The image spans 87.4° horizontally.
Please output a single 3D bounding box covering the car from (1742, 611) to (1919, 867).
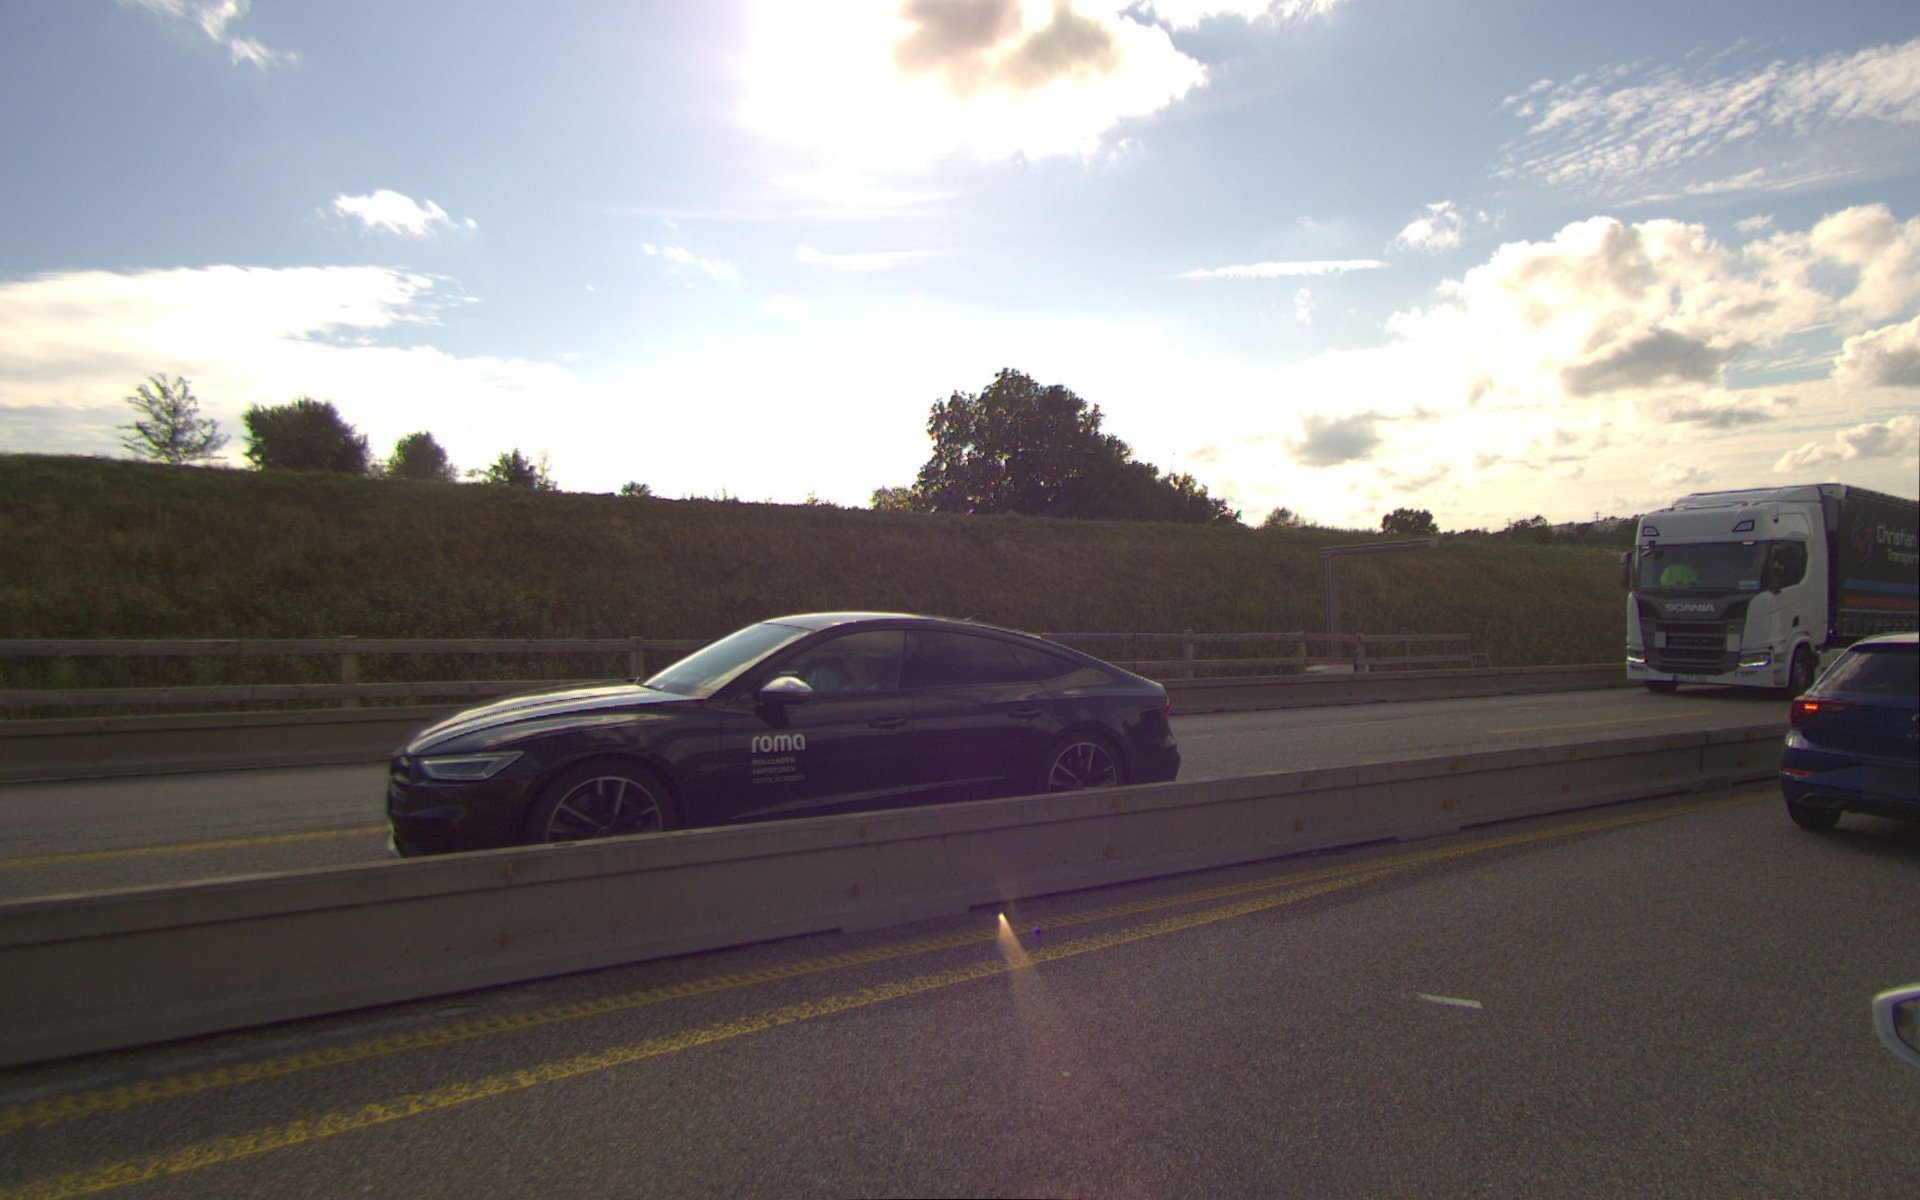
[{"bbox_3d":[7.492,0.885,7.138,3.953,1.528,1.706,1,0,-30],"label":"car"}]

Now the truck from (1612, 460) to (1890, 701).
[{"bbox_3d":[15.945,-0.302,20.171,5.717,4.209,2.600,1,0,-32],"label":"truck"}]

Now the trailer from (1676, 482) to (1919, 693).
[{"bbox_3d":[21.627,-0.131,23.778,13.719,4.006,2.600,1,0,-32],"label":"trailer"}]

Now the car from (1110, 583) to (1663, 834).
[{"bbox_3d":[4.162,0.806,9.389,5.516,1.770,1.937,1,0,-32],"label":"car"}]
